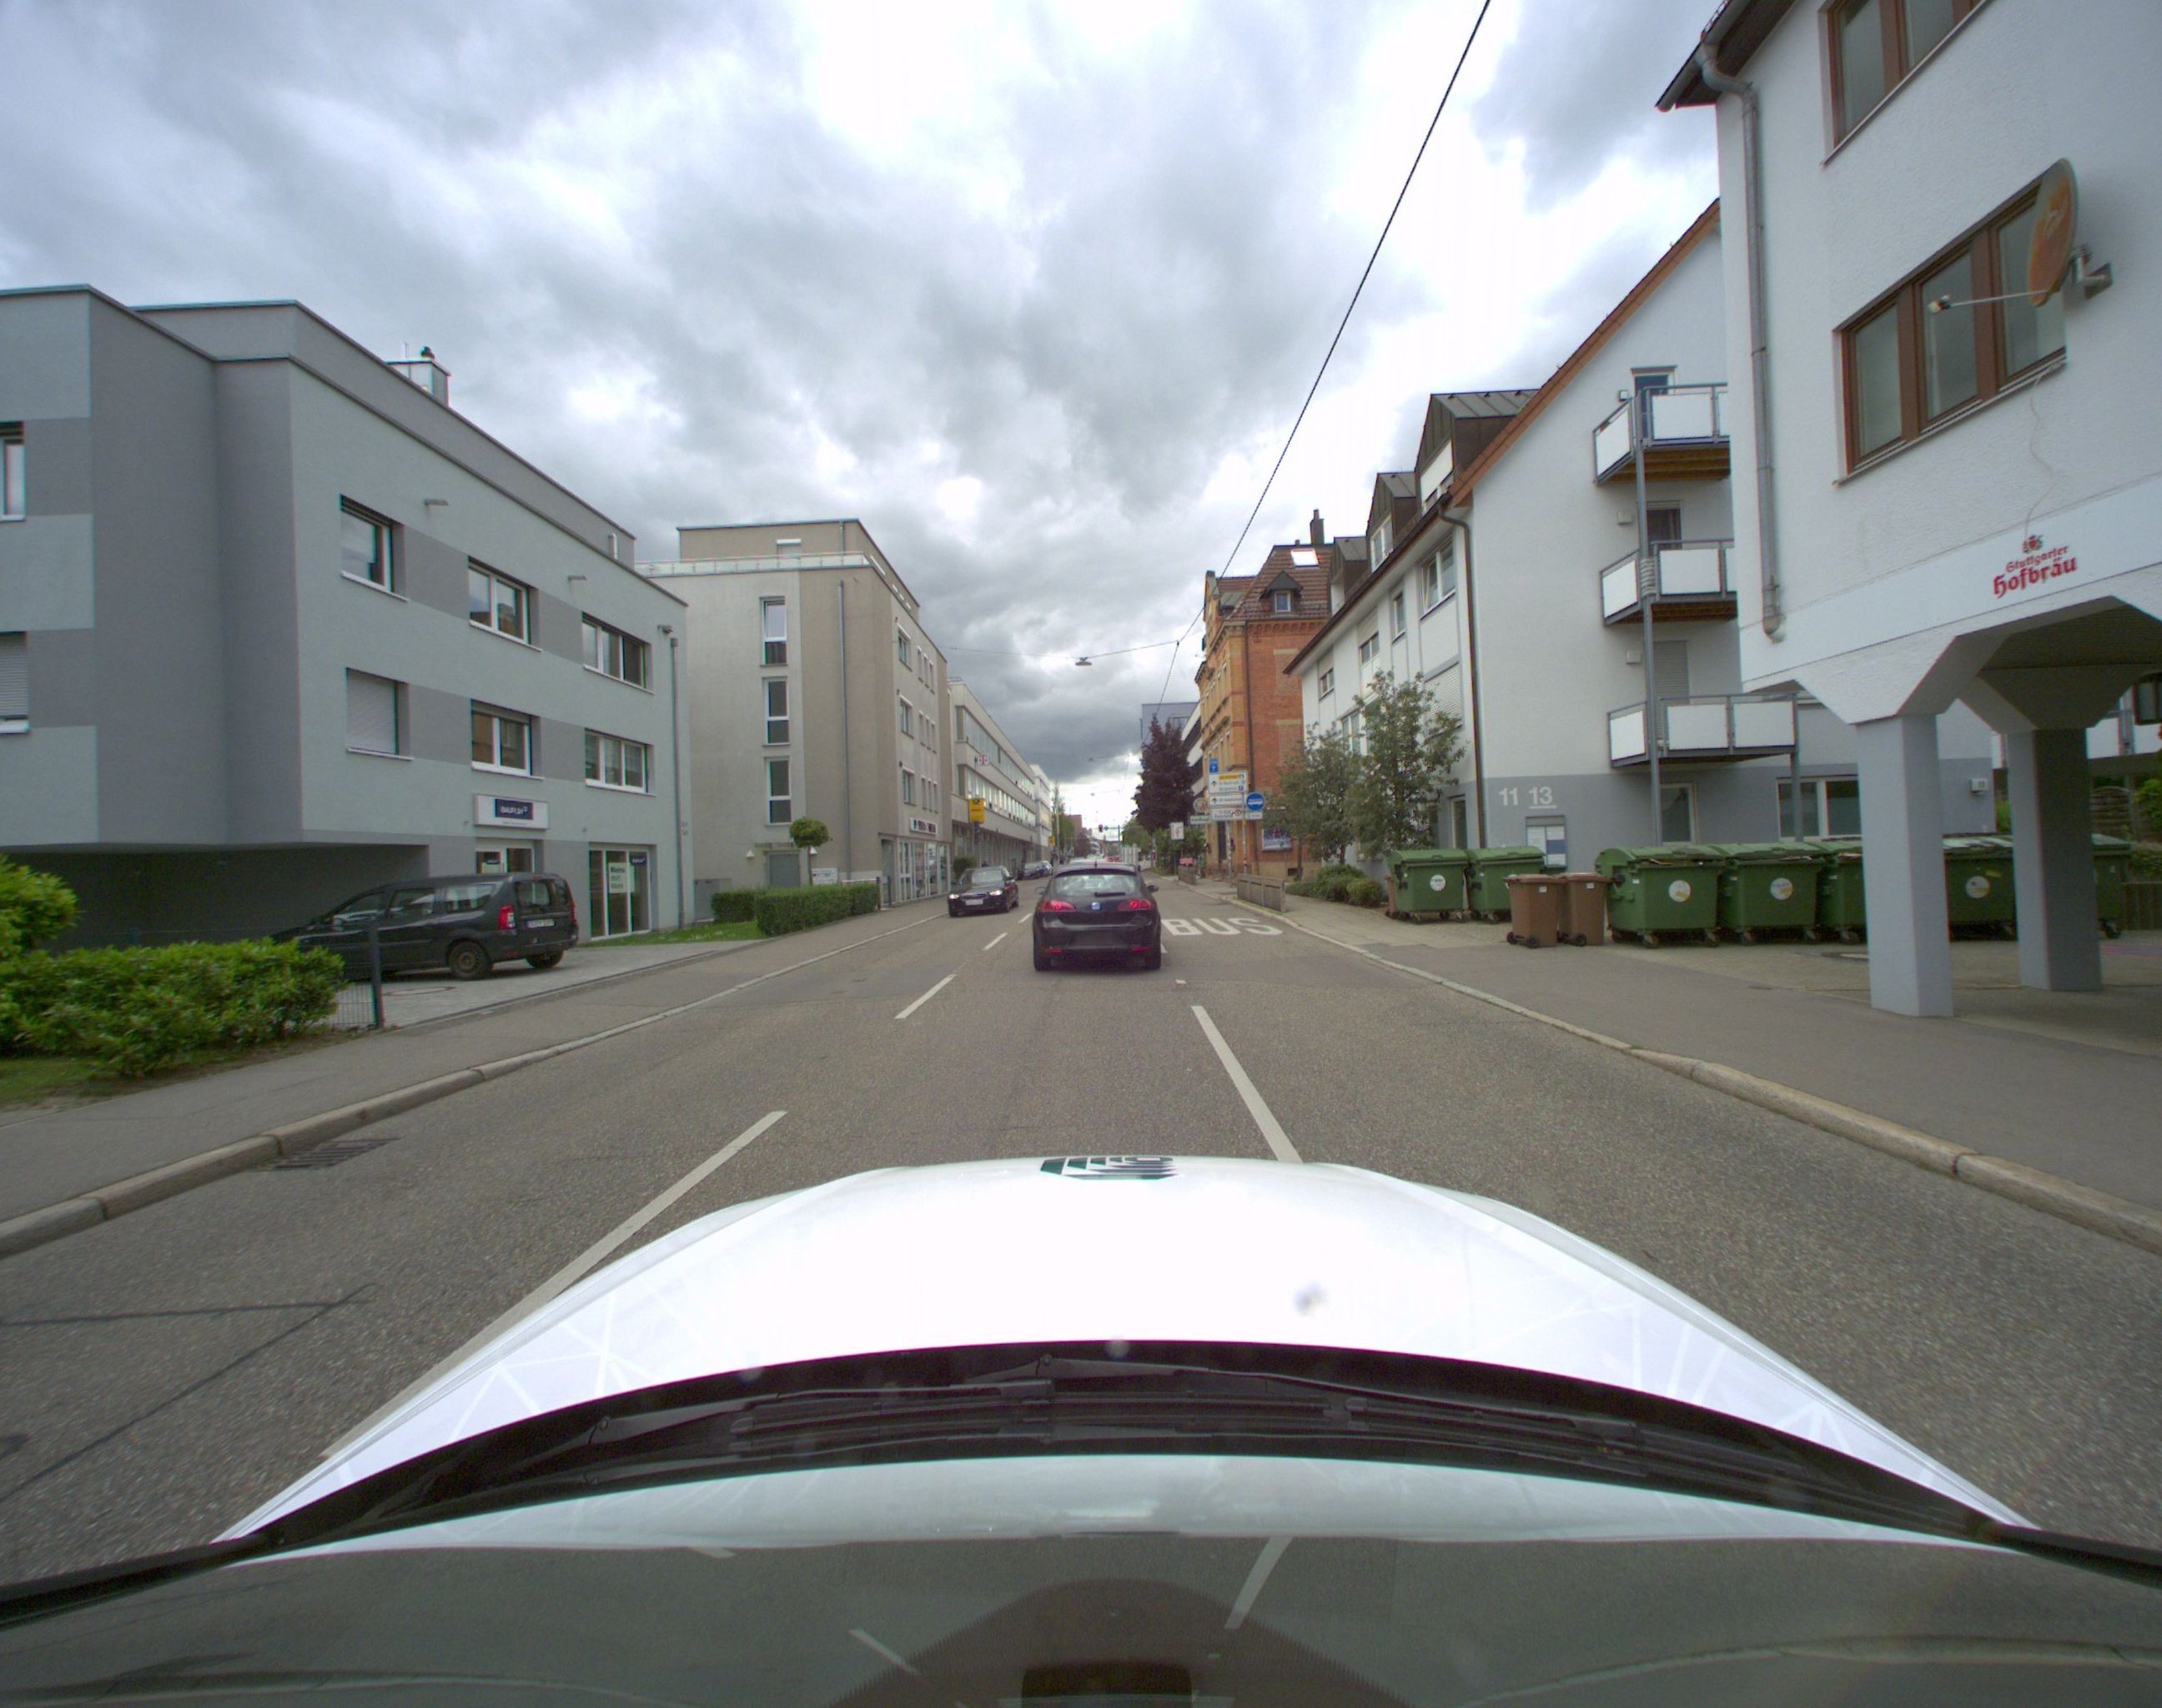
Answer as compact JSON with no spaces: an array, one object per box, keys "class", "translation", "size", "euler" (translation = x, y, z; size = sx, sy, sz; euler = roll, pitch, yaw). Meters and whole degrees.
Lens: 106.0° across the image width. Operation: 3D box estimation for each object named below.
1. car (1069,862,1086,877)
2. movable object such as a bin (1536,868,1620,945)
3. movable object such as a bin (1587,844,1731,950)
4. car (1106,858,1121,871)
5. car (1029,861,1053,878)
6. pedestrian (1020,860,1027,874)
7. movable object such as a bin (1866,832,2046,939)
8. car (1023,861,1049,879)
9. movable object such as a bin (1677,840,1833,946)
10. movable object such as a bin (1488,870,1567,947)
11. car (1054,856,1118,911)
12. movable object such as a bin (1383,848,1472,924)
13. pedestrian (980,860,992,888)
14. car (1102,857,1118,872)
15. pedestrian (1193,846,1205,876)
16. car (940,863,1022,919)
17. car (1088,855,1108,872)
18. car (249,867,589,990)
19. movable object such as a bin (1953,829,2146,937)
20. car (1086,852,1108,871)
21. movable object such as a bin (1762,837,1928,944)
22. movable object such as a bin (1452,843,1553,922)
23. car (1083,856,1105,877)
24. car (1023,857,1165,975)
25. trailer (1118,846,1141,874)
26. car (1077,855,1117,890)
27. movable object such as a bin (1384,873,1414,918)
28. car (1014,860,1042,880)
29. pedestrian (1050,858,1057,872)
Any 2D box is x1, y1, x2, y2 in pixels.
[{"class":"car","translation":[-0.472,1.988,104.133],"size":[1.986,1.739,4.554],"euler":[-3,0,1]},{"class":"movable object such as a bin","translation":[7.445,0.772,12.249],"size":[0.694,1.079,0.973],"euler":[-2,0,5]},{"class":"movable object such as a bin","translation":[8.374,0.599,11.881],"size":[1.203,1.417,1.261],"euler":[-2,0,5]},{"class":"car","translation":[4.199,1.322,105.527],"size":[1.797,1.601,3.738],"euler":[-1,0,1]},{"class":"car","translation":[-3.937,1.495,80.500],"size":[1.986,1.517,4.175],"euler":[-2,0,1]},{"class":"pedestrian","translation":[-6.698,1.481,94.819],"size":[0.653,1.623,0.681],"euler":[-2,-1,2]},{"class":"movable object such as a bin","translation":[12.507,0.436,11.713],"size":[1.203,1.417,1.261],"euler":[-2,0,5]},{"class":"car","translation":[-4.093,1.476,74.796],"size":[1.986,1.517,4.175],"euler":[-2,0,1]},{"class":"movable object such as a bin","translation":[9.730,0.546,11.835],"size":[1.203,1.417,1.261],"euler":[-2,0,5]},{"class":"movable object such as a bin","translation":[6.720,0.804,12.291],"size":[0.680,1.067,0.973],"euler":[-2,0,5]},{"class":"car","translation":[0.182,0.863,25.194],"size":[1.797,1.492,3.738],"euler":[-2,0,1]},{"class":"movable object such as a bin","translation":[6.868,0.611,16.214],"size":[1.262,1.417,1.163],"euler":[-2,0,2]},{"class":"pedestrian","translation":[-6.319,1.326,54.166],"size":[0.640,1.769,0.809],"euler":[-2,-1,-1]},{"class":"car","translation":[3.279,1.150,92.958],"size":[1.797,1.601,3.738],"euler":[-1,0,1]},{"class":"pedestrian","translation":[7.849,0.466,54.187],"size":[0.691,2.013,0.676],"euler":[-2,-1,0]},{"class":"car","translation":[-3.071,1.111,25.930],"size":[1.872,1.451,4.215],"euler":[-5,0,1]},{"class":"car","translation":[1.636,0.932,79.056],"size":[1.797,1.601,3.738],"euler":[-1,0,1]},{"class":"car","translation":[-10.507,1.144,13.108],"size":[4.143,1.667,1.727],"euler":[-3,-1,5]},{"class":"movable object such as a bin","translation":[13.746,0.390,11.622],"size":[1.203,1.417,1.261],"euler":[-2,0,5]},{"class":"car","translation":[1.344,0.622,68.213],"size":[1.797,1.553,3.738],"euler":[-2,0,1]},{"class":"movable object such as a bin","translation":[10.981,0.500,11.780],"size":[1.203,1.417,1.261],"euler":[-2,0,5]},{"class":"movable object such as a bin","translation":[8.207,0.545,15.940],"size":[1.262,1.435,1.308],"euler":[-2,0,2]},{"class":"car","translation":[1.094,1.036,68.532],"size":[1.797,1.601,3.738],"euler":[-1,0,1]},{"class":"car","translation":[0.229,0.796,12.270],"size":[1.759,1.433,3.830],"euler":[-2,0,2]},{"class":"trailer","translation":[4.743,0.627,80.481],"size":[1.986,2.607,5.350],"euler":[-2,0,1]},{"class":"car","translation":[0.767,0.890,39.796],"size":[1.797,1.553,3.738],"euler":[-2,0,1]},{"class":"movable object such as a bin","translation":[6.640,0.860,17.031],"size":[0.428,0.921,0.465],"euler":[-2,-1,2]},{"class":"car","translation":[-4.428,1.352,68.965],"size":[1.906,1.517,4.175],"euler":[-3,0,1]},{"class":"pedestrian","translation":[-4.007,1.595,118.335],"size":[0.915,1.869,0.783],"euler":[-2,-1,1]}]
